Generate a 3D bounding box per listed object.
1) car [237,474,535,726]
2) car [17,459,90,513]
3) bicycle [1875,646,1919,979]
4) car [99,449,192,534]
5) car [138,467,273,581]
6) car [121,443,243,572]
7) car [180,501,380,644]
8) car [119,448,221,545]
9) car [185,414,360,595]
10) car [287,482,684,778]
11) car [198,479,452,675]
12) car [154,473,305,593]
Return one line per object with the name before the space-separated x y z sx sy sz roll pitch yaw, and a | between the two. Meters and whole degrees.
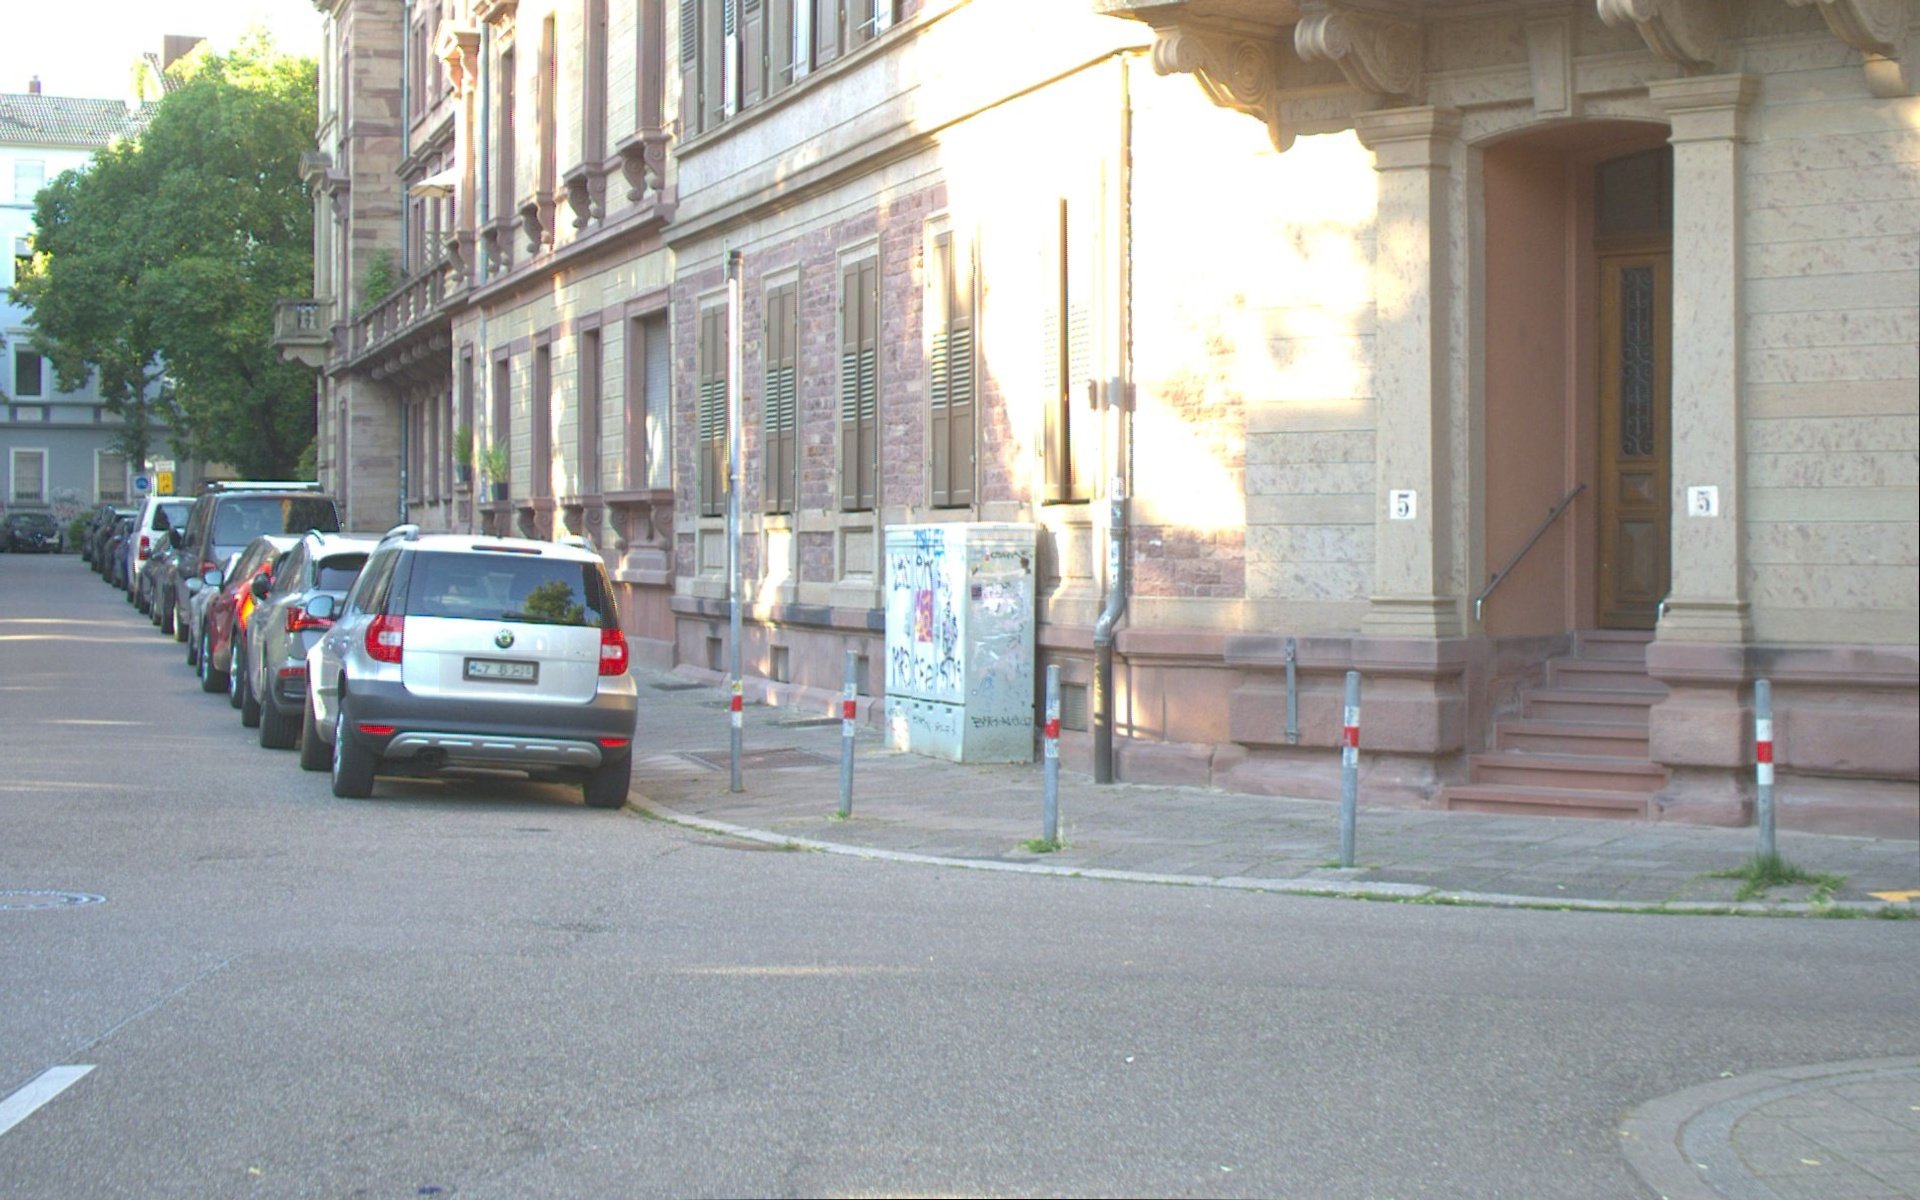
car | -4.611 -0.072 27.119 1.825 1.717 4.545 3 1 -15
car | -31.127 -3.894 118.015 1.993 1.678 4.001 1 0 -21
bicycle | 4.198 0.731 11.381 2.117 1.050 0.701 2 2 3
car | -17.843 -2.395 75.214 1.797 1.722 3.957 3 2 -15
car | -11.815 -1.210 53.672 1.797 1.617 3.957 3 2 -15
car | -13.417 -1.616 59.149 1.797 2.065 3.957 3 2 -15
car | -7.403 -0.330 37.190 1.797 1.340 3.957 3 2 -15
car | -16.147 -2.132 70.128 1.797 1.832 3.957 3 2 -15
car | -8.636 -1.211 42.970 1.797 2.065 3.957 3 2 -15
car | -3.176 0.124 22.276 1.915 1.651 4.188 3 1 -16
car | -5.988 -0.258 32.095 1.797 1.608 3.957 3 2 -17
car | -10.312 -0.967 48.327 1.797 1.518 3.957 3 2 -15
